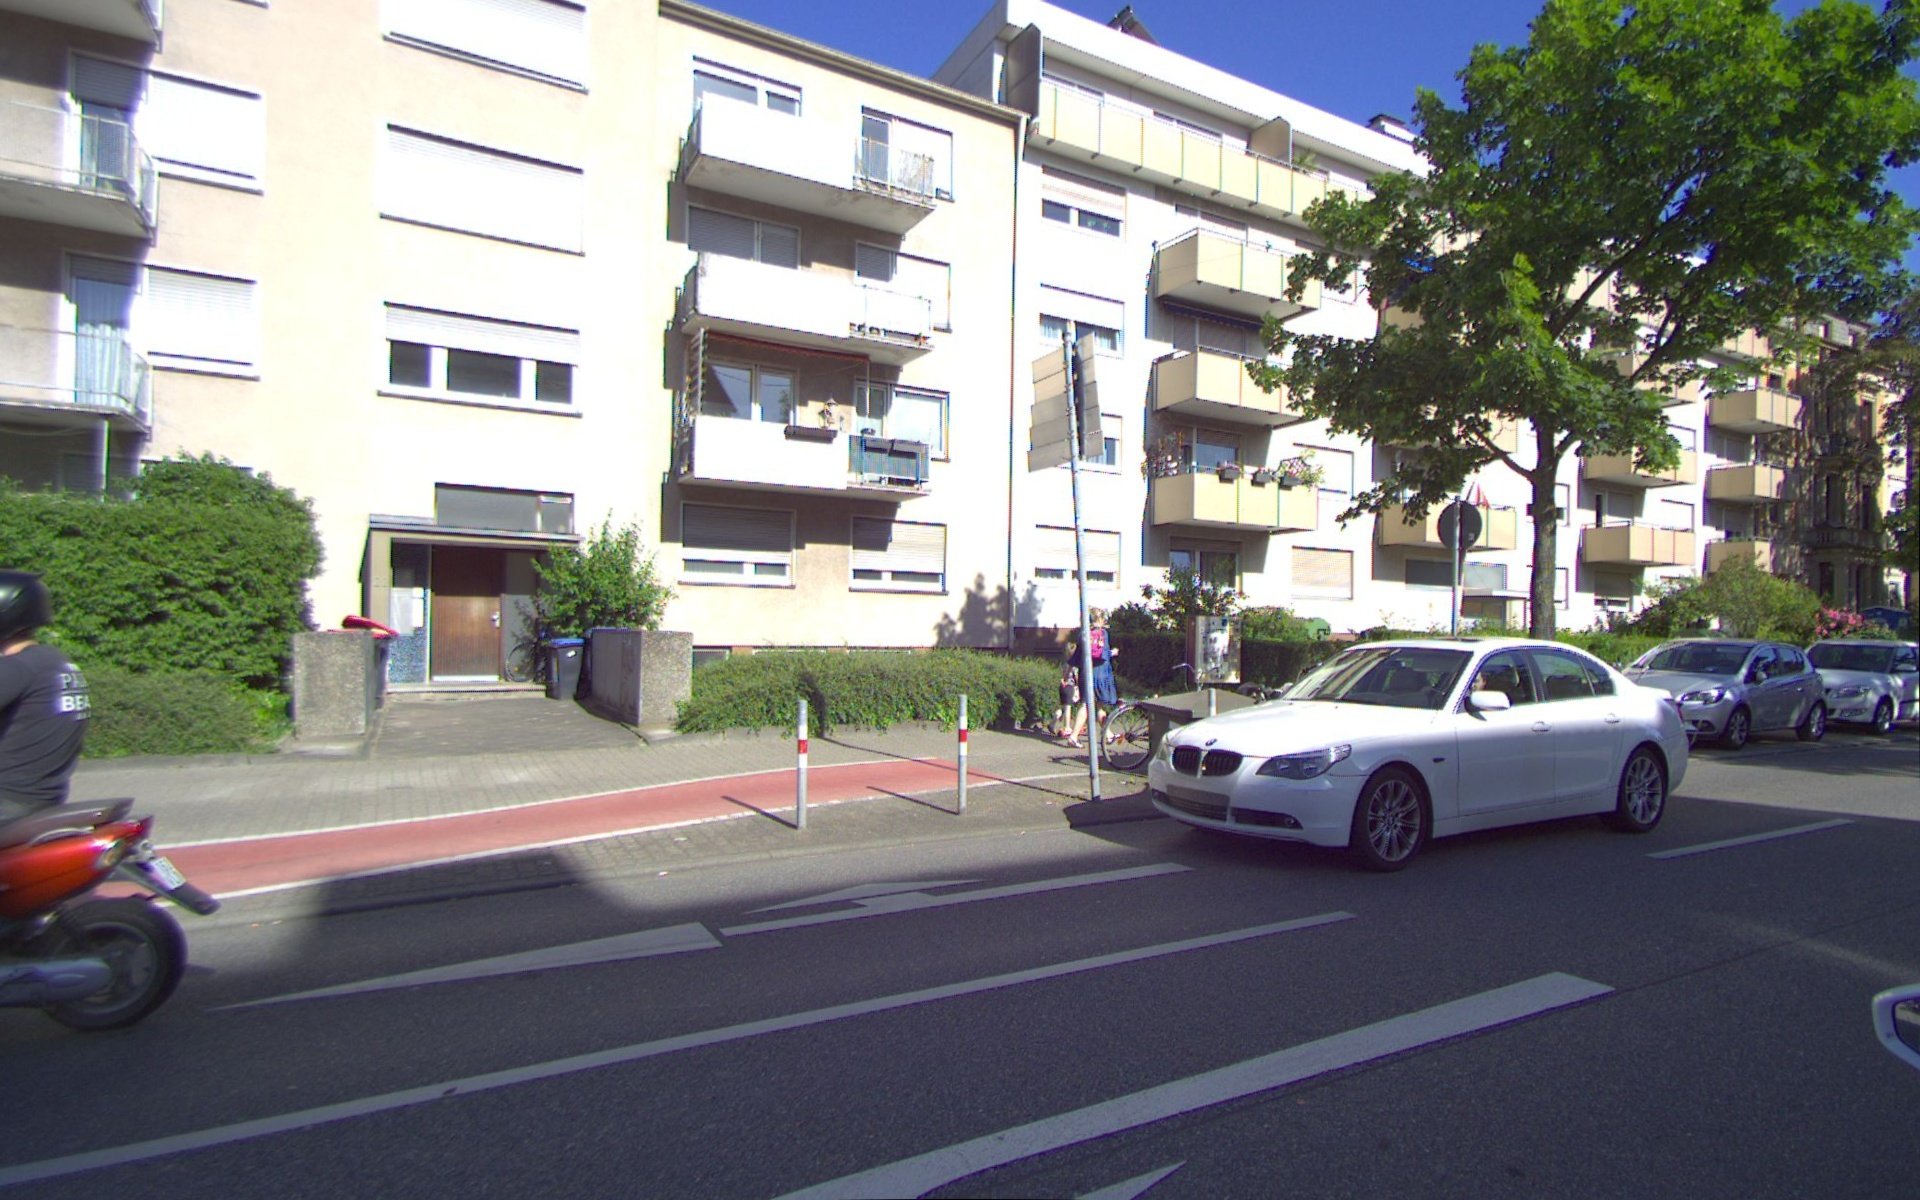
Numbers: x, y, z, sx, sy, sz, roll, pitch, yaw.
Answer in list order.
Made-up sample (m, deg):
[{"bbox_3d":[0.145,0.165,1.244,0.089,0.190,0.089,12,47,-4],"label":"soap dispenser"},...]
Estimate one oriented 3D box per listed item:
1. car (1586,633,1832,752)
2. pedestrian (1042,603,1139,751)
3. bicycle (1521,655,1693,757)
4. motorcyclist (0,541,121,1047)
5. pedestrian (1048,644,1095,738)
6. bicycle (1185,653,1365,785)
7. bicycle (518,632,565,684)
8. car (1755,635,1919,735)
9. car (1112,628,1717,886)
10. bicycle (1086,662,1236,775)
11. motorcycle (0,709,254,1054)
[{"bbox_3d":[11.030,1.273,14.737,3.850,1.495,1.497,2,0,-30],"label":"car"},{"bbox_3d":[1.570,0.899,12.128,0.918,1.709,0.666,1,0,-30],"label":"pedestrian"},{"bbox_3d":[8.500,1.356,13.281,0.553,1.101,1.818,2,1,-29],"label":"bicycle"},{"bbox_3d":[-3.664,0.646,3.506,0.905,1.668,0.727,1,-3,-24],"label":"motorcyclist"},{"bbox_3d":[1.439,1.172,13.006,0.484,1.176,0.333,1,0,-30],"label":"pedestrian"},{"bbox_3d":[3.333,1.221,10.808,0.513,1.178,1.956,1,0,-32],"label":"bicycle"},{"bbox_3d":[-6.965,0.955,16.707,0.849,0.829,0.309,1,-1,36],"label":"bicycle"},{"bbox_3d":[15.335,1.394,17.166,3.639,1.509,1.395,2,0,-28],"label":"car"},{"bbox_3d":[3.604,1.013,7.757,4.720,1.484,1.806,2,-3,-29],"label":"car"},{"bbox_3d":[2.137,1.210,10.576,1.686,1.093,0.424,2,-1,-30],"label":"bicycle"},{"bbox_3d":[-3.680,0.983,3.502,1.906,1.136,0.446,1,-3,-25],"label":"motorcycle"}]
